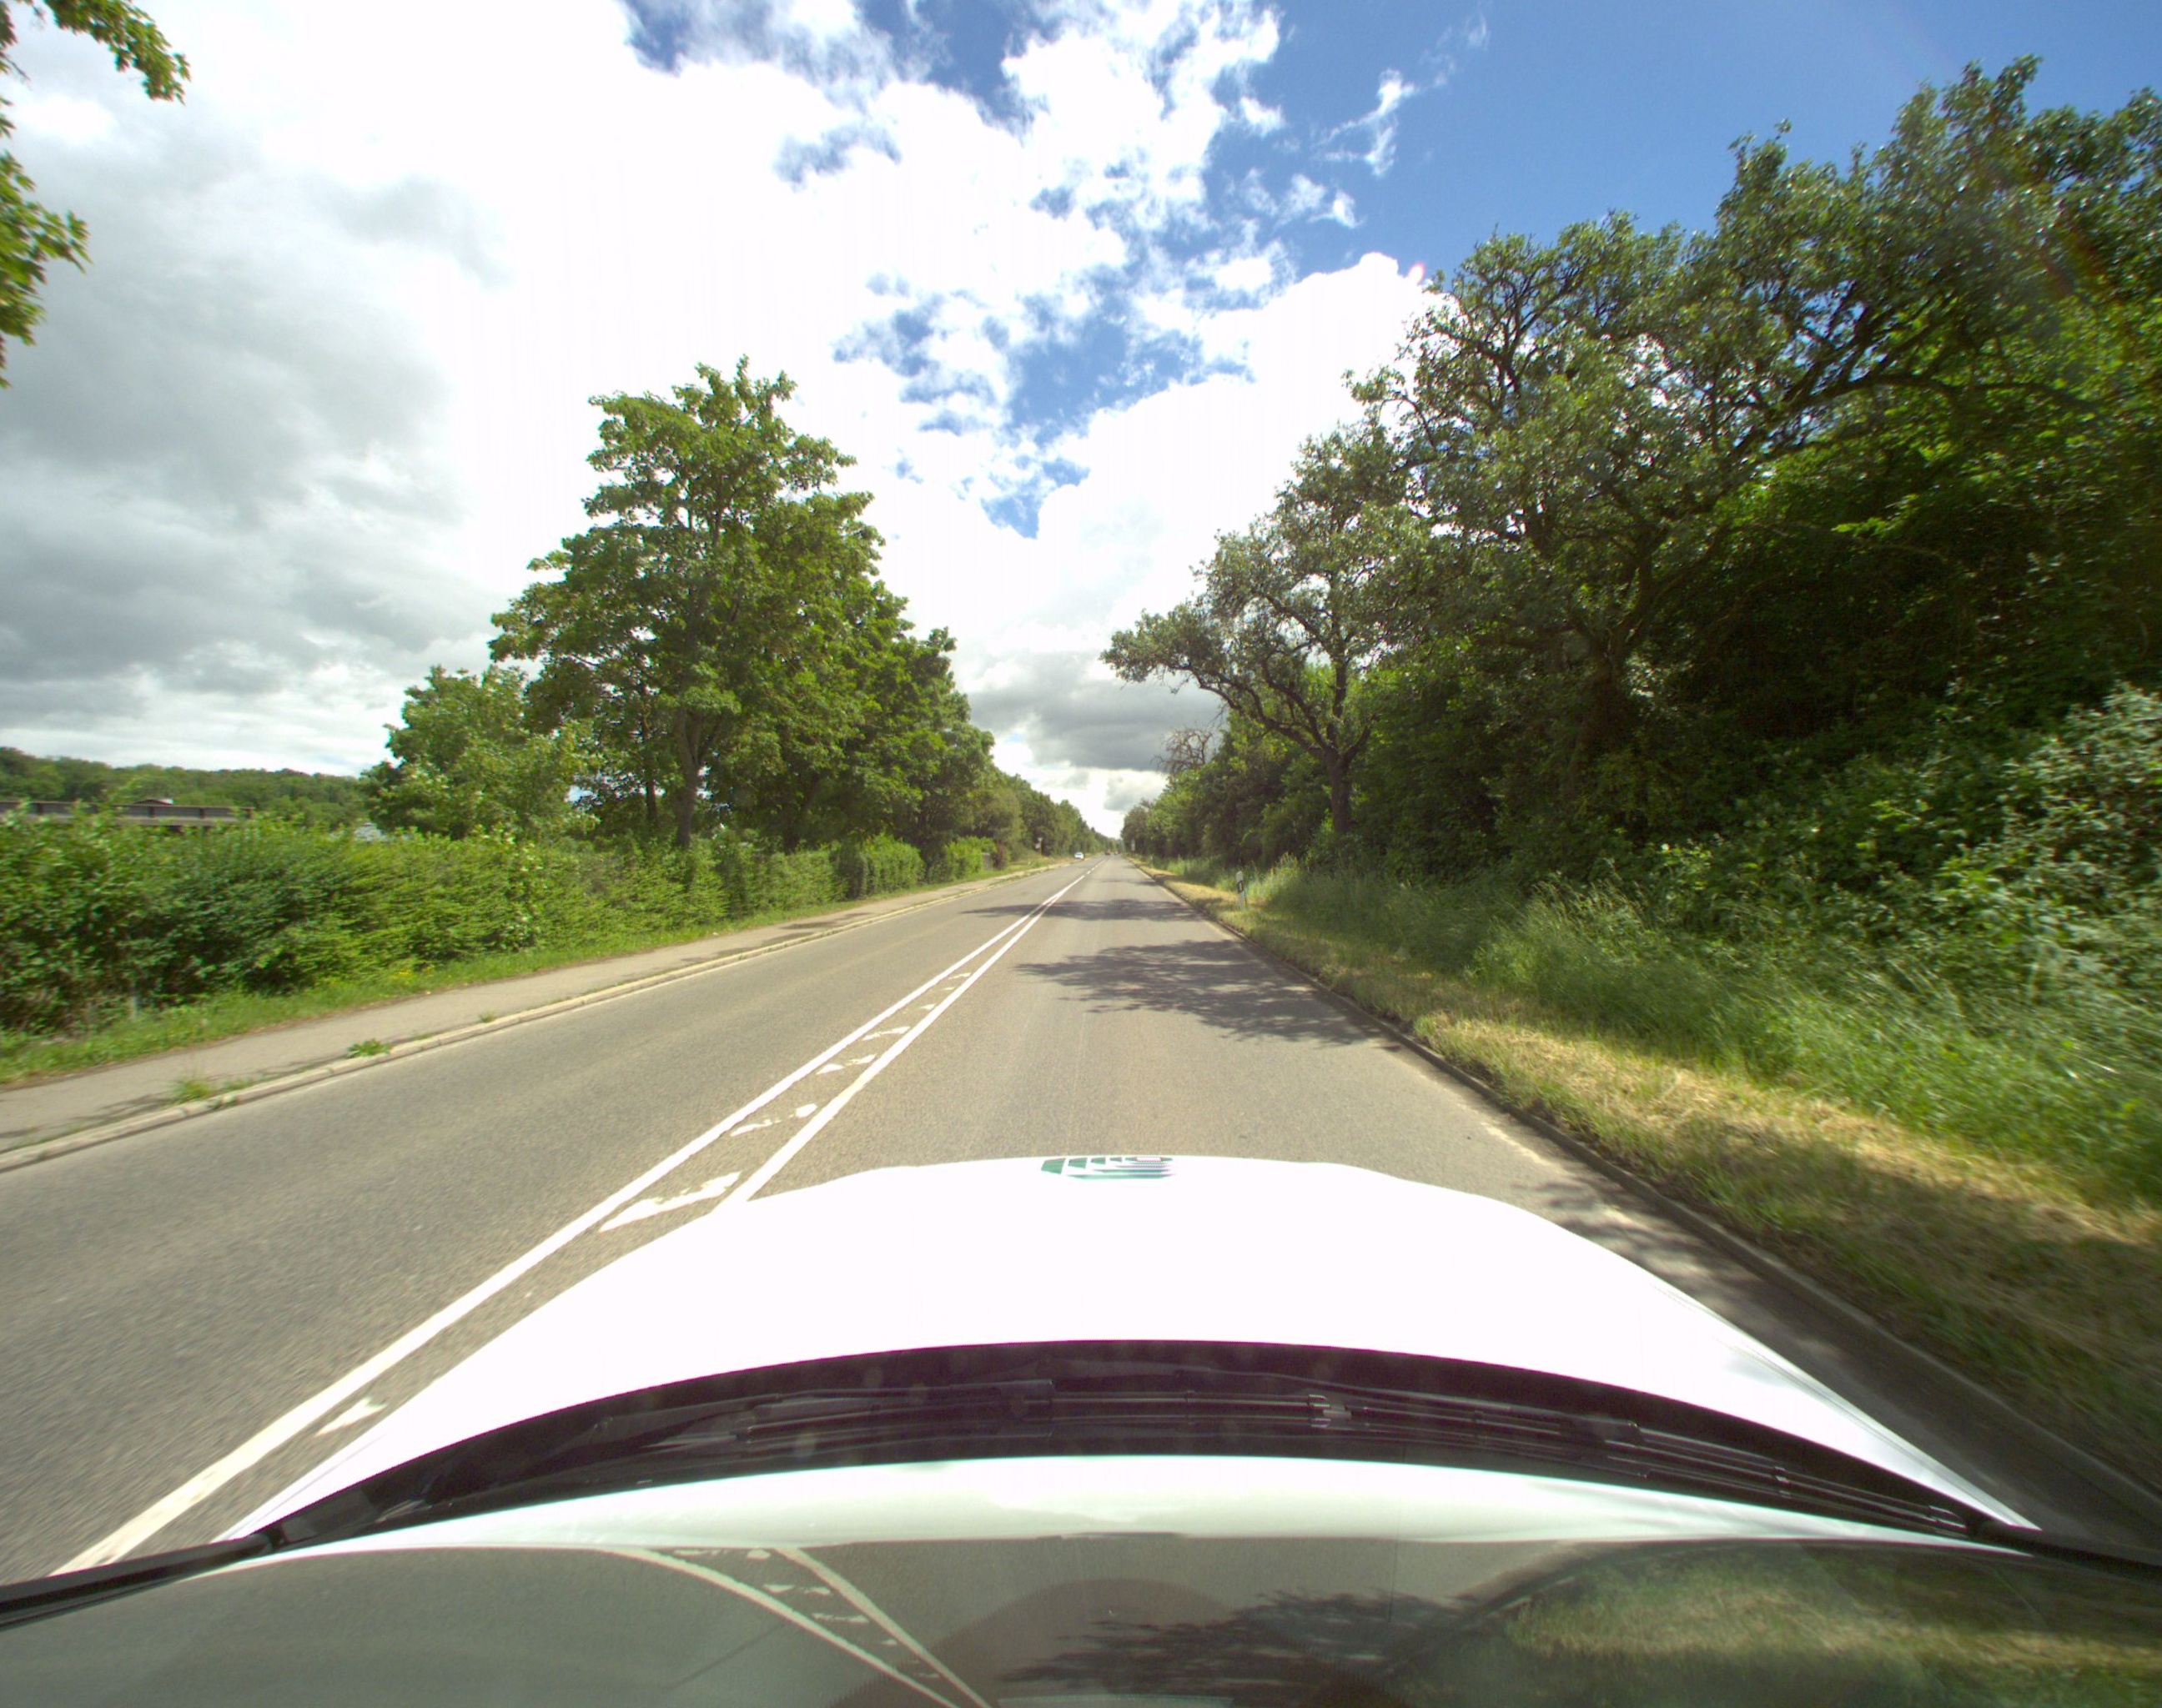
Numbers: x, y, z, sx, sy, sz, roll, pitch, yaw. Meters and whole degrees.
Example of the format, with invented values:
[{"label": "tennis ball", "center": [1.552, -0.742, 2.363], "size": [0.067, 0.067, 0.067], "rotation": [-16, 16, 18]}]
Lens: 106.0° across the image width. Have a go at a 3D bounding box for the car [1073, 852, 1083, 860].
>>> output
[{"label": "car", "center": [-0.664, 0.380, 176.829], "size": [1.791, 1.543, 3.957], "rotation": [-2, -1, 2]}]
